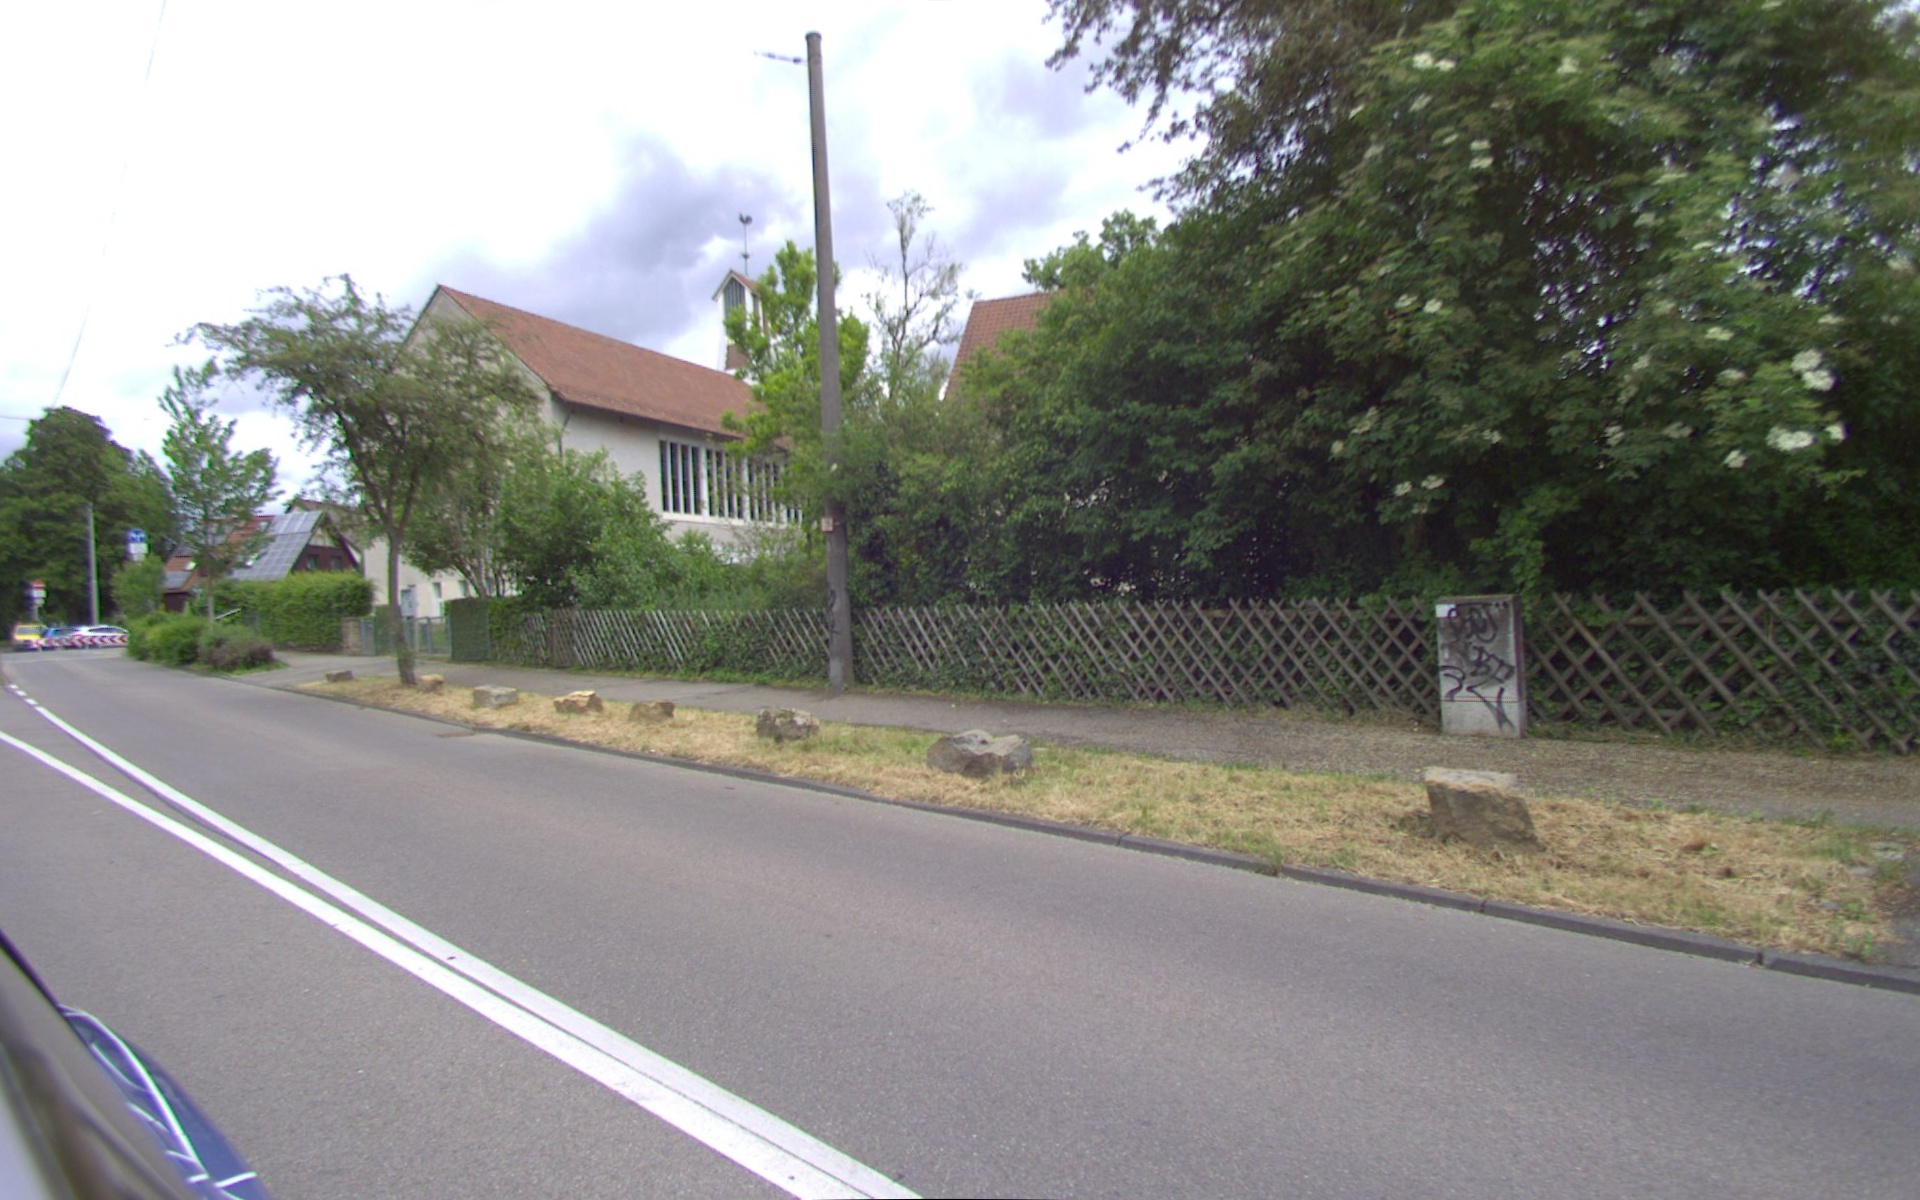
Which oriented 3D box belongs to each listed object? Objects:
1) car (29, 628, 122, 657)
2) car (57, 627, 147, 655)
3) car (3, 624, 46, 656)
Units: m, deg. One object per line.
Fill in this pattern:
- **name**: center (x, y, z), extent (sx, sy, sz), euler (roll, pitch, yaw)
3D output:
- **car**: center (-55.197, 2.657, 63.201), extent (1.844, 1.558, 4.123), euler (-4, -1, 40)
- **car**: center (-52.633, 2.480, 62.158), extent (1.840, 1.483, 3.862), euler (-4, -1, 33)
- **car**: center (-62.260, 2.678, 67.336), extent (1.894, 2.004, 4.803), euler (-2, -1, -45)
